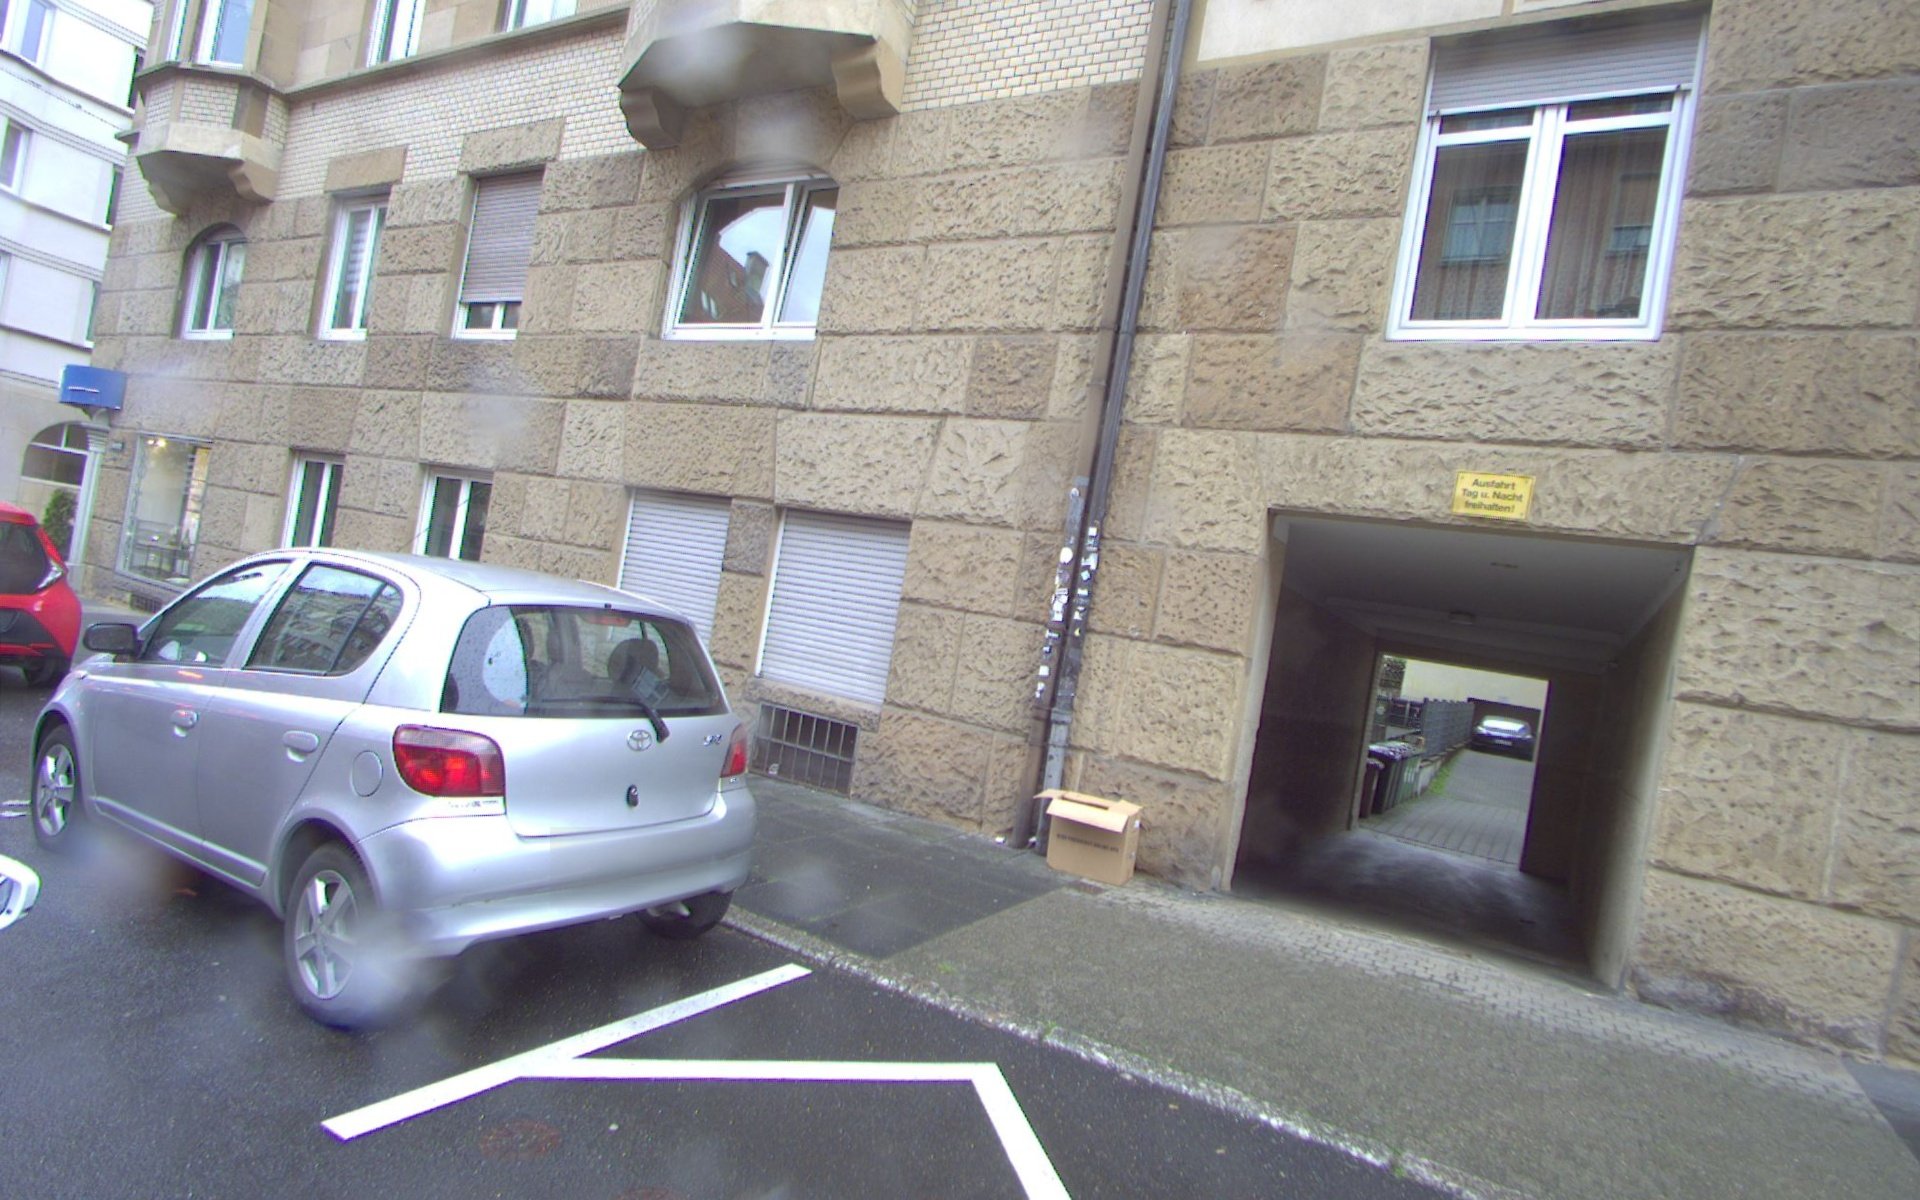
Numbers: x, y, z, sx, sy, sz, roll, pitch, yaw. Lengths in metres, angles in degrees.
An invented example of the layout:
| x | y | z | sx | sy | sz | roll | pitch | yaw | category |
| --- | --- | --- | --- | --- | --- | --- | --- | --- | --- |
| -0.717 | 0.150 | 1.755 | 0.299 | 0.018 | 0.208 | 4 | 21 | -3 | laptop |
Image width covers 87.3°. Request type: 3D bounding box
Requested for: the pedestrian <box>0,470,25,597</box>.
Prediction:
| x | y | z | sx | sy | sz | roll | pitch | yaw | category |
| --- | --- | --- | --- | --- | --- | --- | --- | --- | --- |
| -14.085 | -1.011 | 14.303 | 1.093 | 1.768 | 0.743 | 6 | -1 | 32 | pedestrian |

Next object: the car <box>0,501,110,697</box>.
| x | y | z | sx | sy | sz | roll | pitch | yaw | category |
| --- | --- | --- | --- | --- | --- | --- | --- | --- | --- |
| -8.735 | -0.195 | 8.178 | 3.243 | 1.464 | 1.646 | 7 | -2 | 29 | car |

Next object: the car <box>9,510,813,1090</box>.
| x | y | z | sx | sy | sz | roll | pitch | yaw | category |
| --- | --- | --- | --- | --- | --- | --- | --- | --- | --- |
| -2.485 | 0.552 | 4.401 | 3.258 | 1.485 | 1.616 | 7 | 0 | 33 | car |

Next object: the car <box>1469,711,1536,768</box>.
| x | y | z | sx | sy | sz | roll | pitch | yaw | category |
| --- | --- | --- | --- | --- | --- | --- | --- | --- | --- |
| 18.337 | 4.677 | 33.948 | 1.693 | 1.538 | 4.102 | 7 | -3 | 31 | car |
